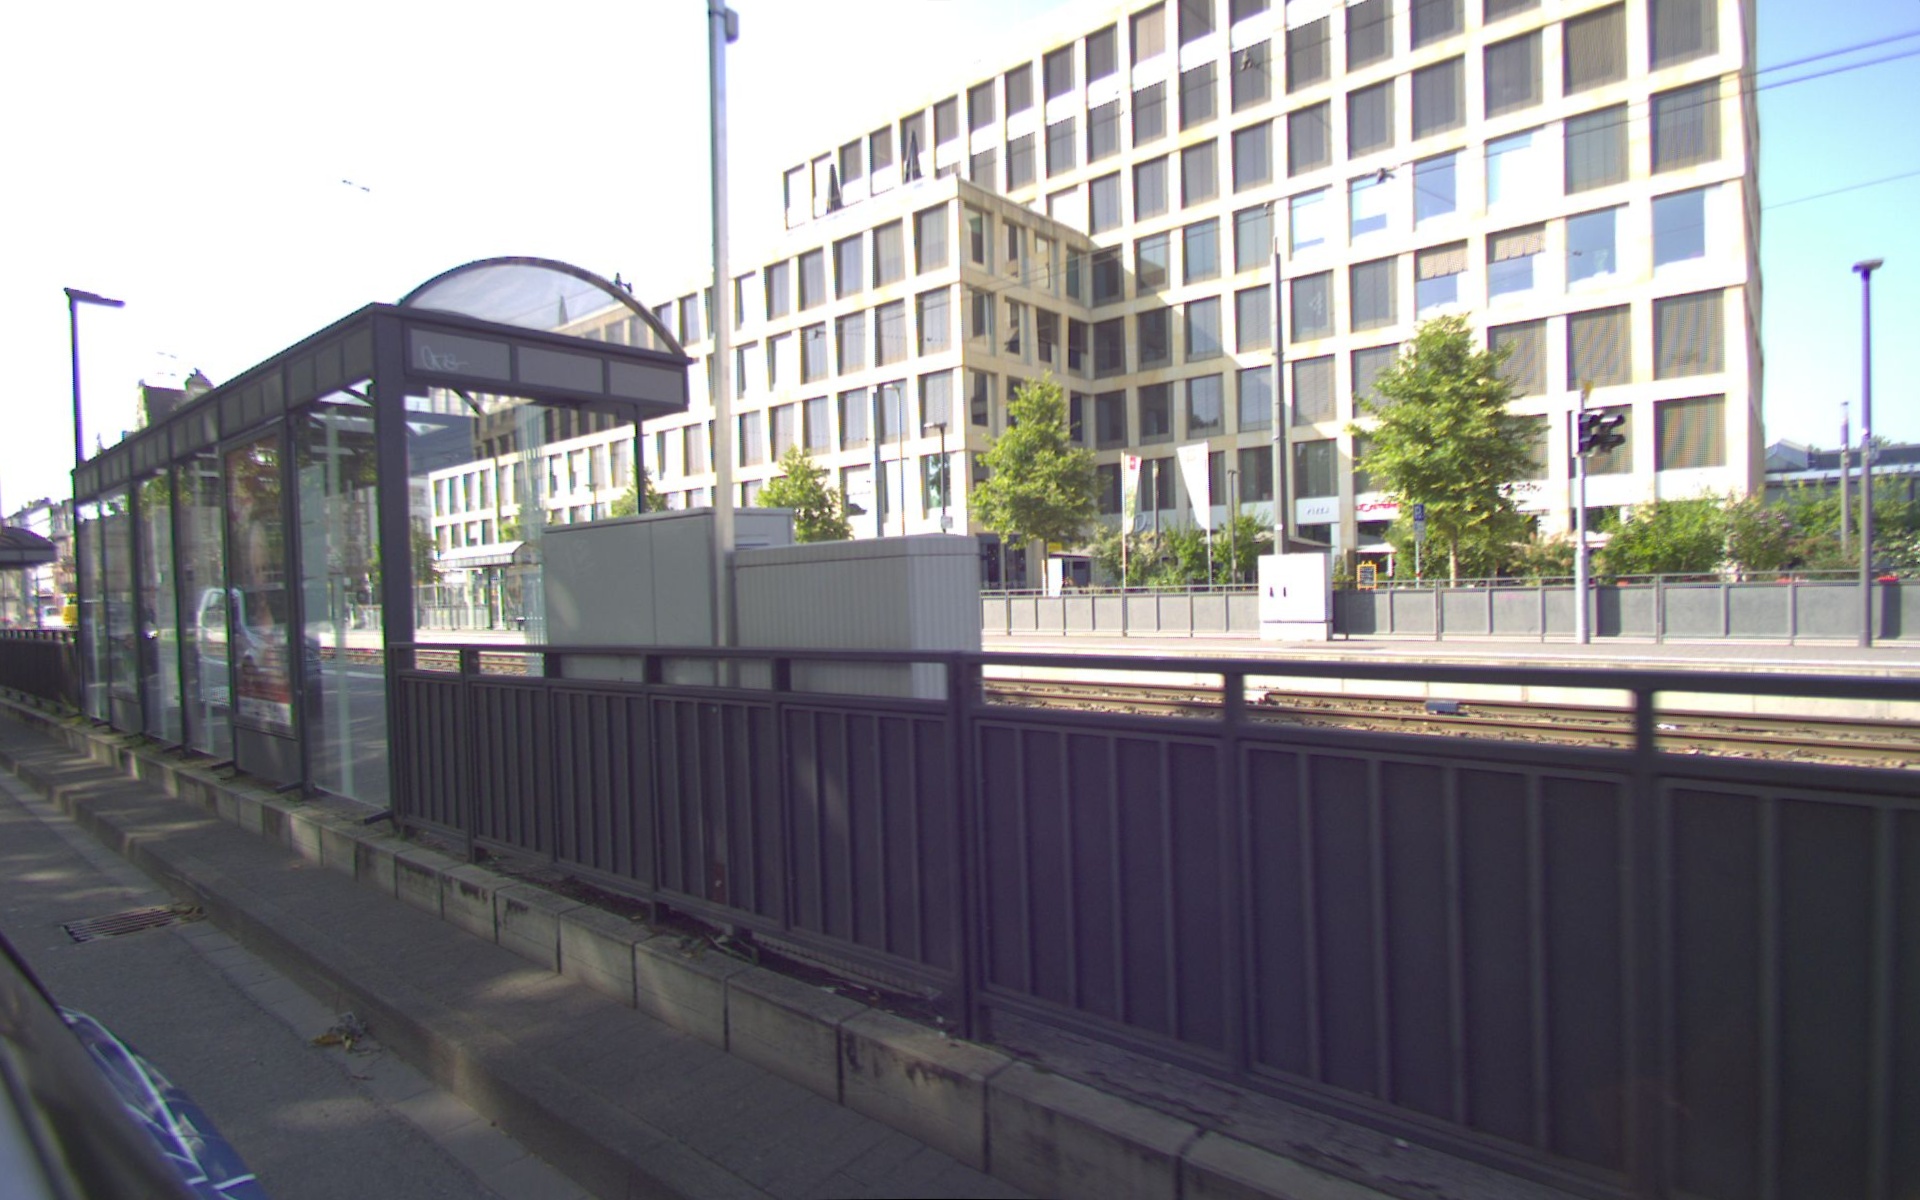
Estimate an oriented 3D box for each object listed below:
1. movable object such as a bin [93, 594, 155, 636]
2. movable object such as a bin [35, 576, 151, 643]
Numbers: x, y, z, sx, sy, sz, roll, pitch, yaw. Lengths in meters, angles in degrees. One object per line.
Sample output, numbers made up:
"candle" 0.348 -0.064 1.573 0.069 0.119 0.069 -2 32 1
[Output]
"movable object such as a bin" -71.292 1.298 86.241 8.344 3.355 2.816 -1 1 42
"movable object such as a bin" -56.627 0.613 66.410 3.454 4.043 9.071 -2 0 -26
